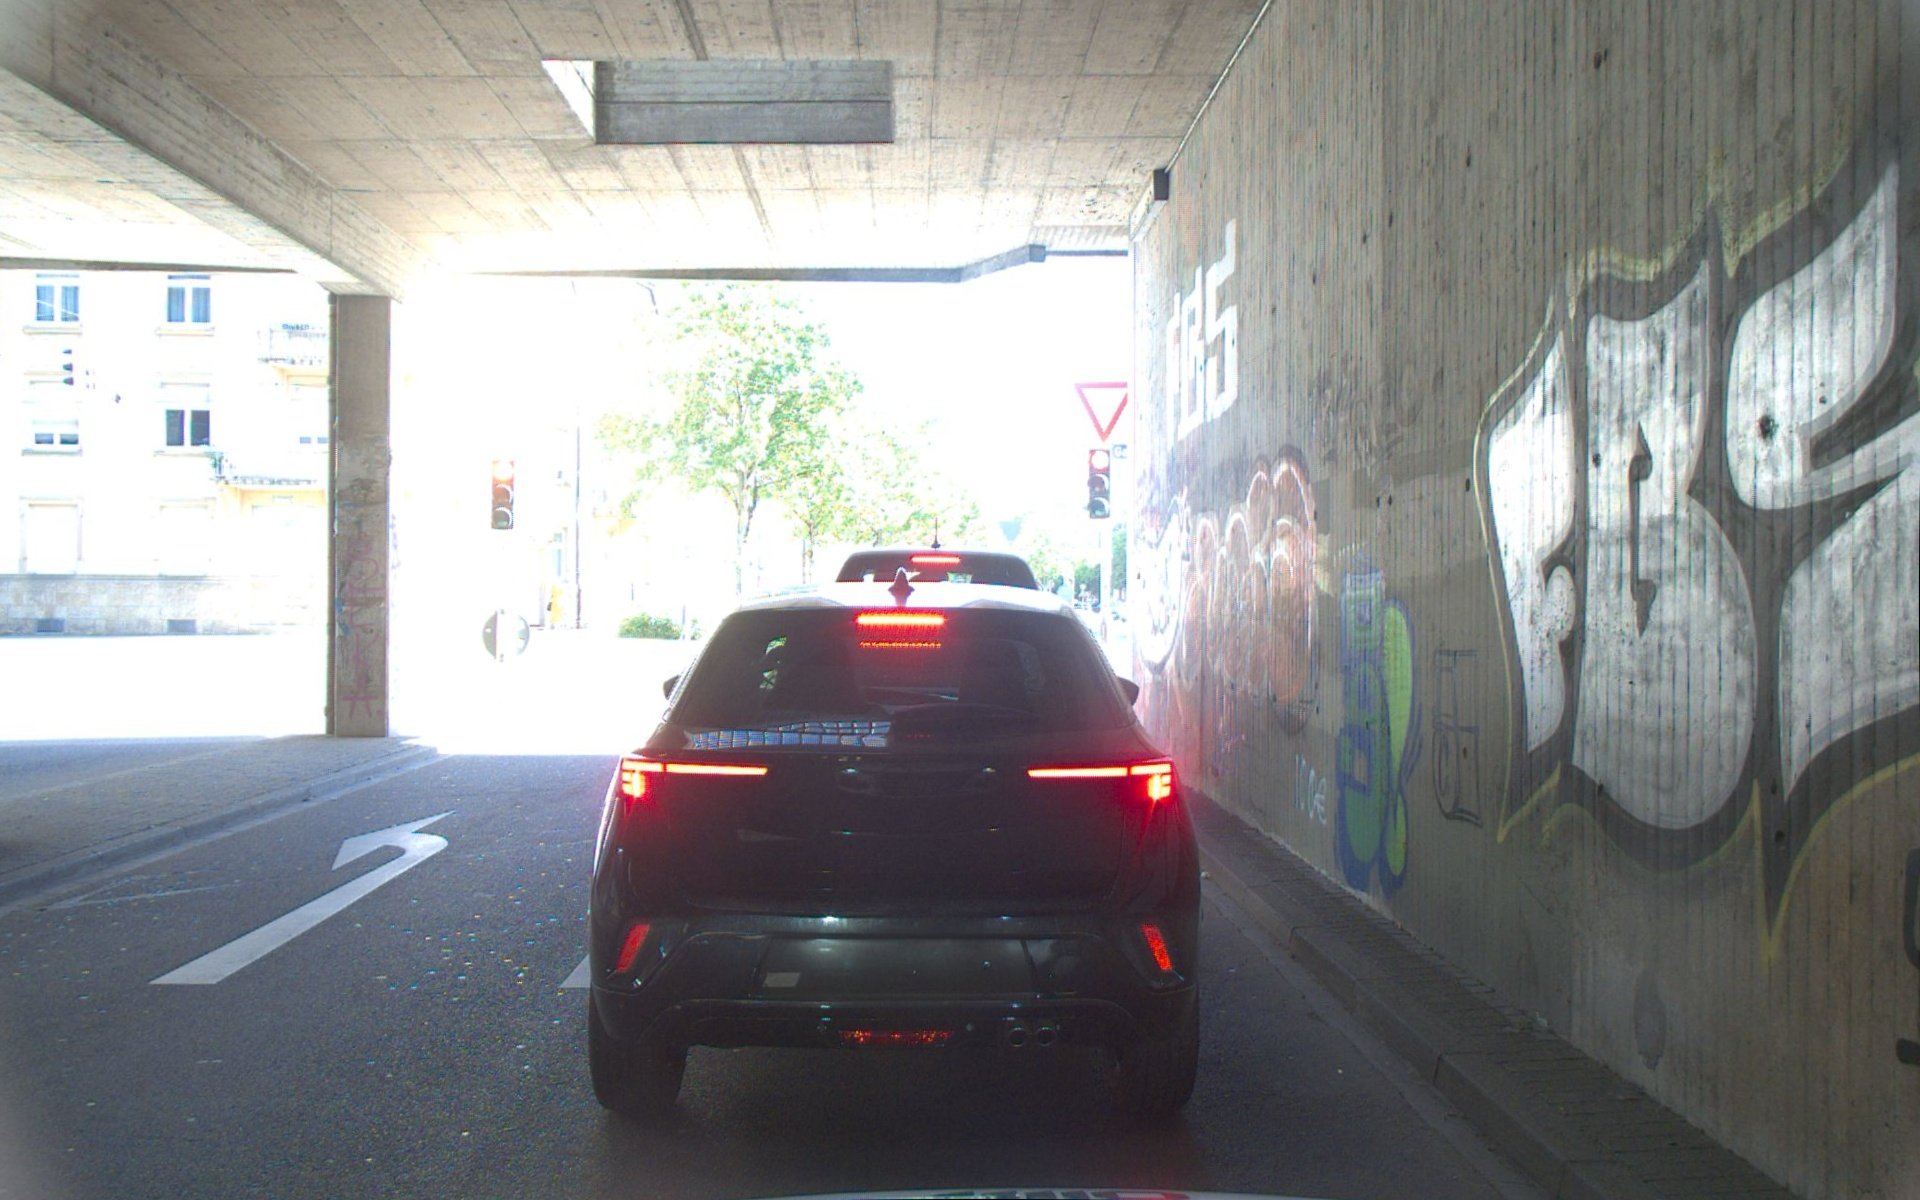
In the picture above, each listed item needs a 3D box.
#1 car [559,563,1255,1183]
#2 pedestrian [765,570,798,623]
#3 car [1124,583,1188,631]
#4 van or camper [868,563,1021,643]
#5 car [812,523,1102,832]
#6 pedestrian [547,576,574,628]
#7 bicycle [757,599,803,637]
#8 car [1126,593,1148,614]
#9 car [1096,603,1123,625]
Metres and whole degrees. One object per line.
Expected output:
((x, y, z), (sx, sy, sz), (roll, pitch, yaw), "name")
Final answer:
((-0.146, 0.676, 6.146), (1.718, 1.525, 4.000), (1, 0, -1), "car")
((-5.541, -0.096, 51.325), (0.720, 1.612, 0.891), (1, -1, 15), "pedestrian")
((6.747, 0.218, 56.499), (1.951, 1.561, 4.738), (0, 0, 9), "car")
((-0.373, 0.081, 43.412), (3.795, 2.049, 2.002), (0, 0, 7), "van or camper")
((-0.039, 0.466, 12.122), (1.749, 1.865, 3.960), (1, 0, -1), "car")
((-13.572, 0.061, 56.219), (0.609, 1.734, 0.724), (1, -1, 14), "pedestrian")
((-5.567, 0.550, 51.239), (0.721, 1.150, 2.027), (0, 0, 16), "bicycle")
((14.308, 0.296, 133.917), (1.550, 1.668, 3.809), (0, 0, 9), "car")
((10.422, 0.985, 115.463), (1.564, 1.477, 3.798), (0, 0, 10), "car")
